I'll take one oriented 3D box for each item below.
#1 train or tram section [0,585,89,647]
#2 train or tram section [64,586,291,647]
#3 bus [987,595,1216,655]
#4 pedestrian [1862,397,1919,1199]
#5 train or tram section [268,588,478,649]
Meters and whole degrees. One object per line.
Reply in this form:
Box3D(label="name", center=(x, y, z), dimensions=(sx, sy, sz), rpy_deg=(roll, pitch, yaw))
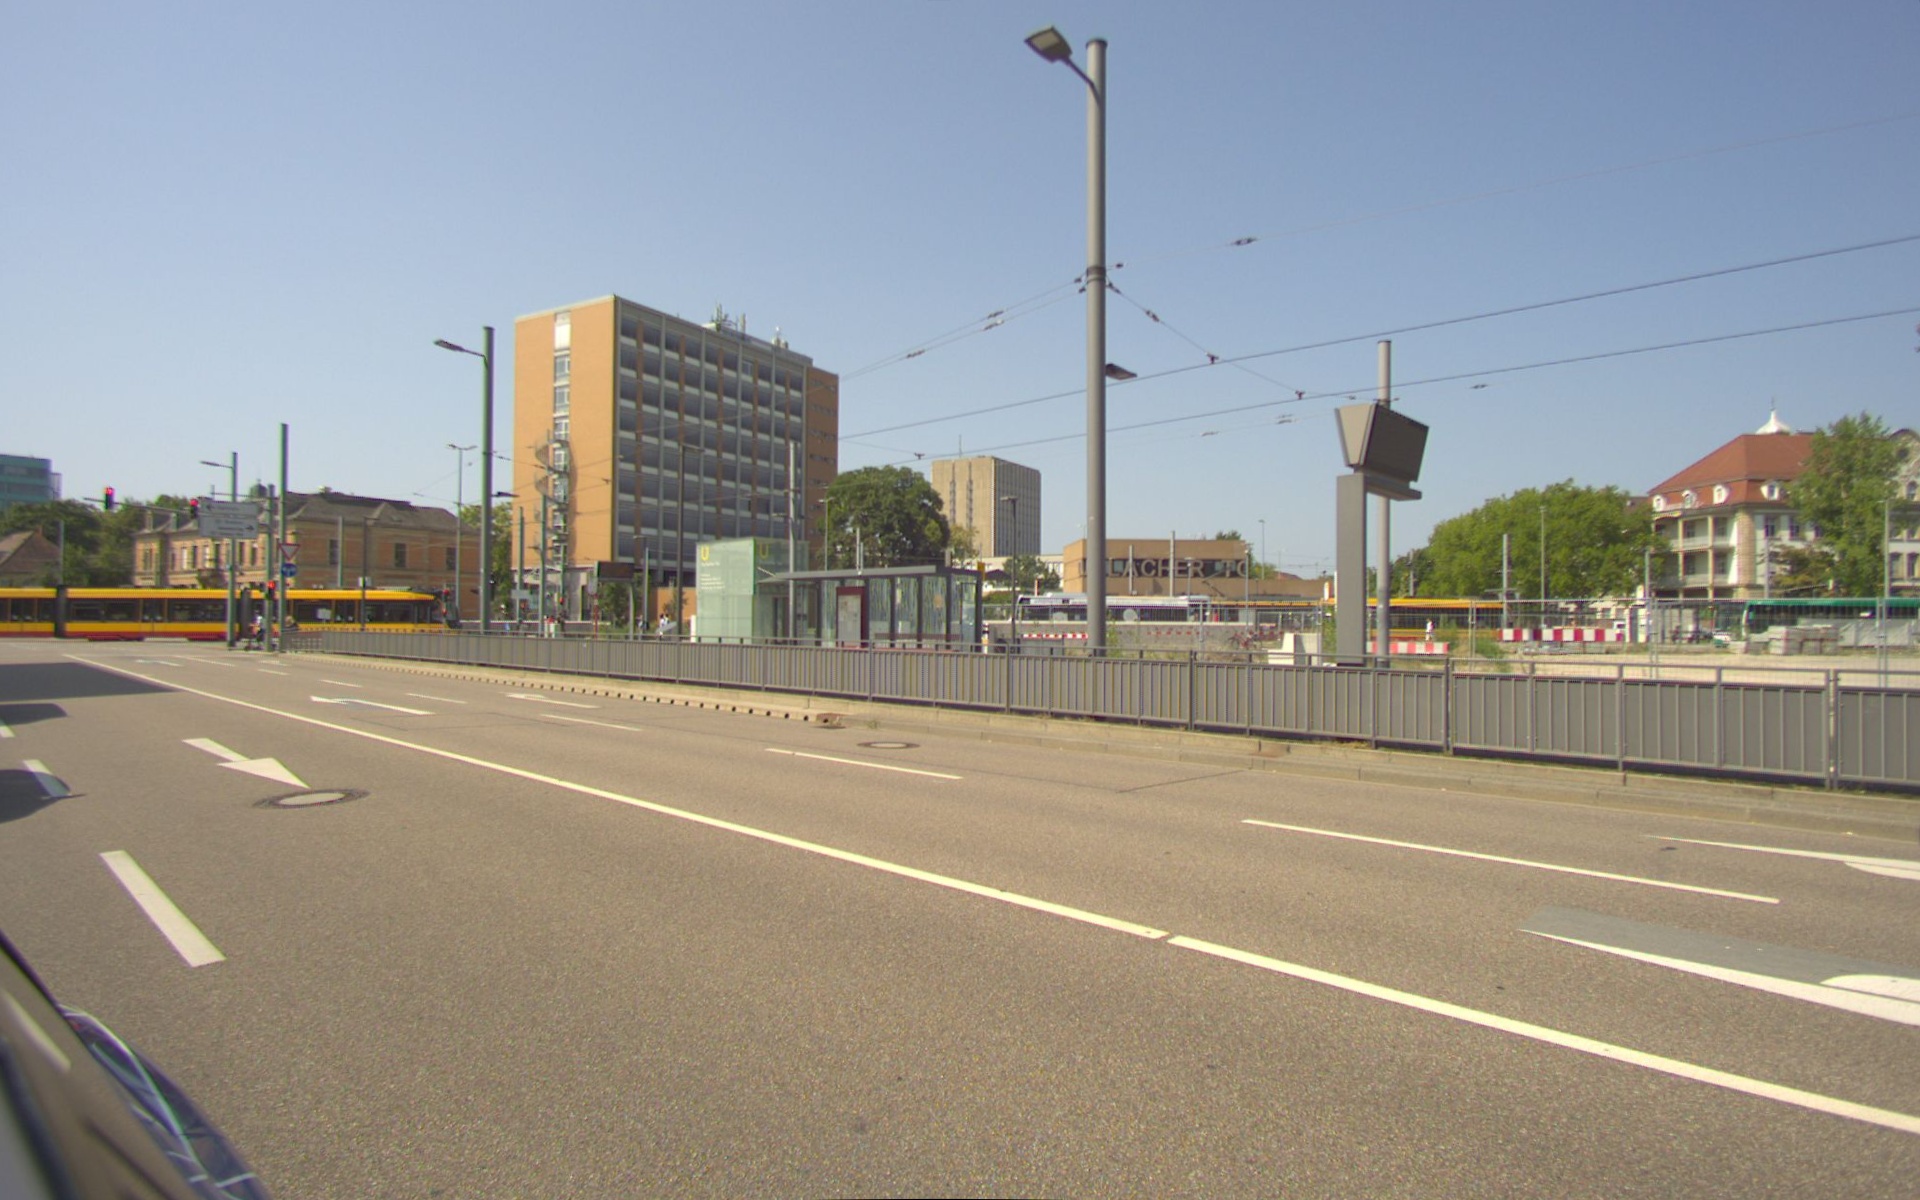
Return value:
Box3D(label="train or tram section", center=(-62.284, 0.986, 63.544), dimensions=(12.168, 3.794, 2.004), rpy_deg=(1, -2, -9))
Box3D(label="train or tram section", center=(-50.268, 1.095, 65.280), dimensions=(12.173, 3.794, 2.003), rpy_deg=(1, -2, -7))
Box3D(label="bus", center=(8.392, 1.441, 61.136), dimensions=(13.211, 3.319, 3.353), rpy_deg=(-1, 0, -2))
Box3D(label="pedestrian", center=(2.021, 0.517, 1.203), dimensions=(0.959, 1.754, 1.232), rpy_deg=(0, 0, 17))
Box3D(label="train or tram section", center=(-38.164, 1.210, 66.089), dimensions=(12.182, 3.794, 2.002), rpy_deg=(1, -2, -4))
